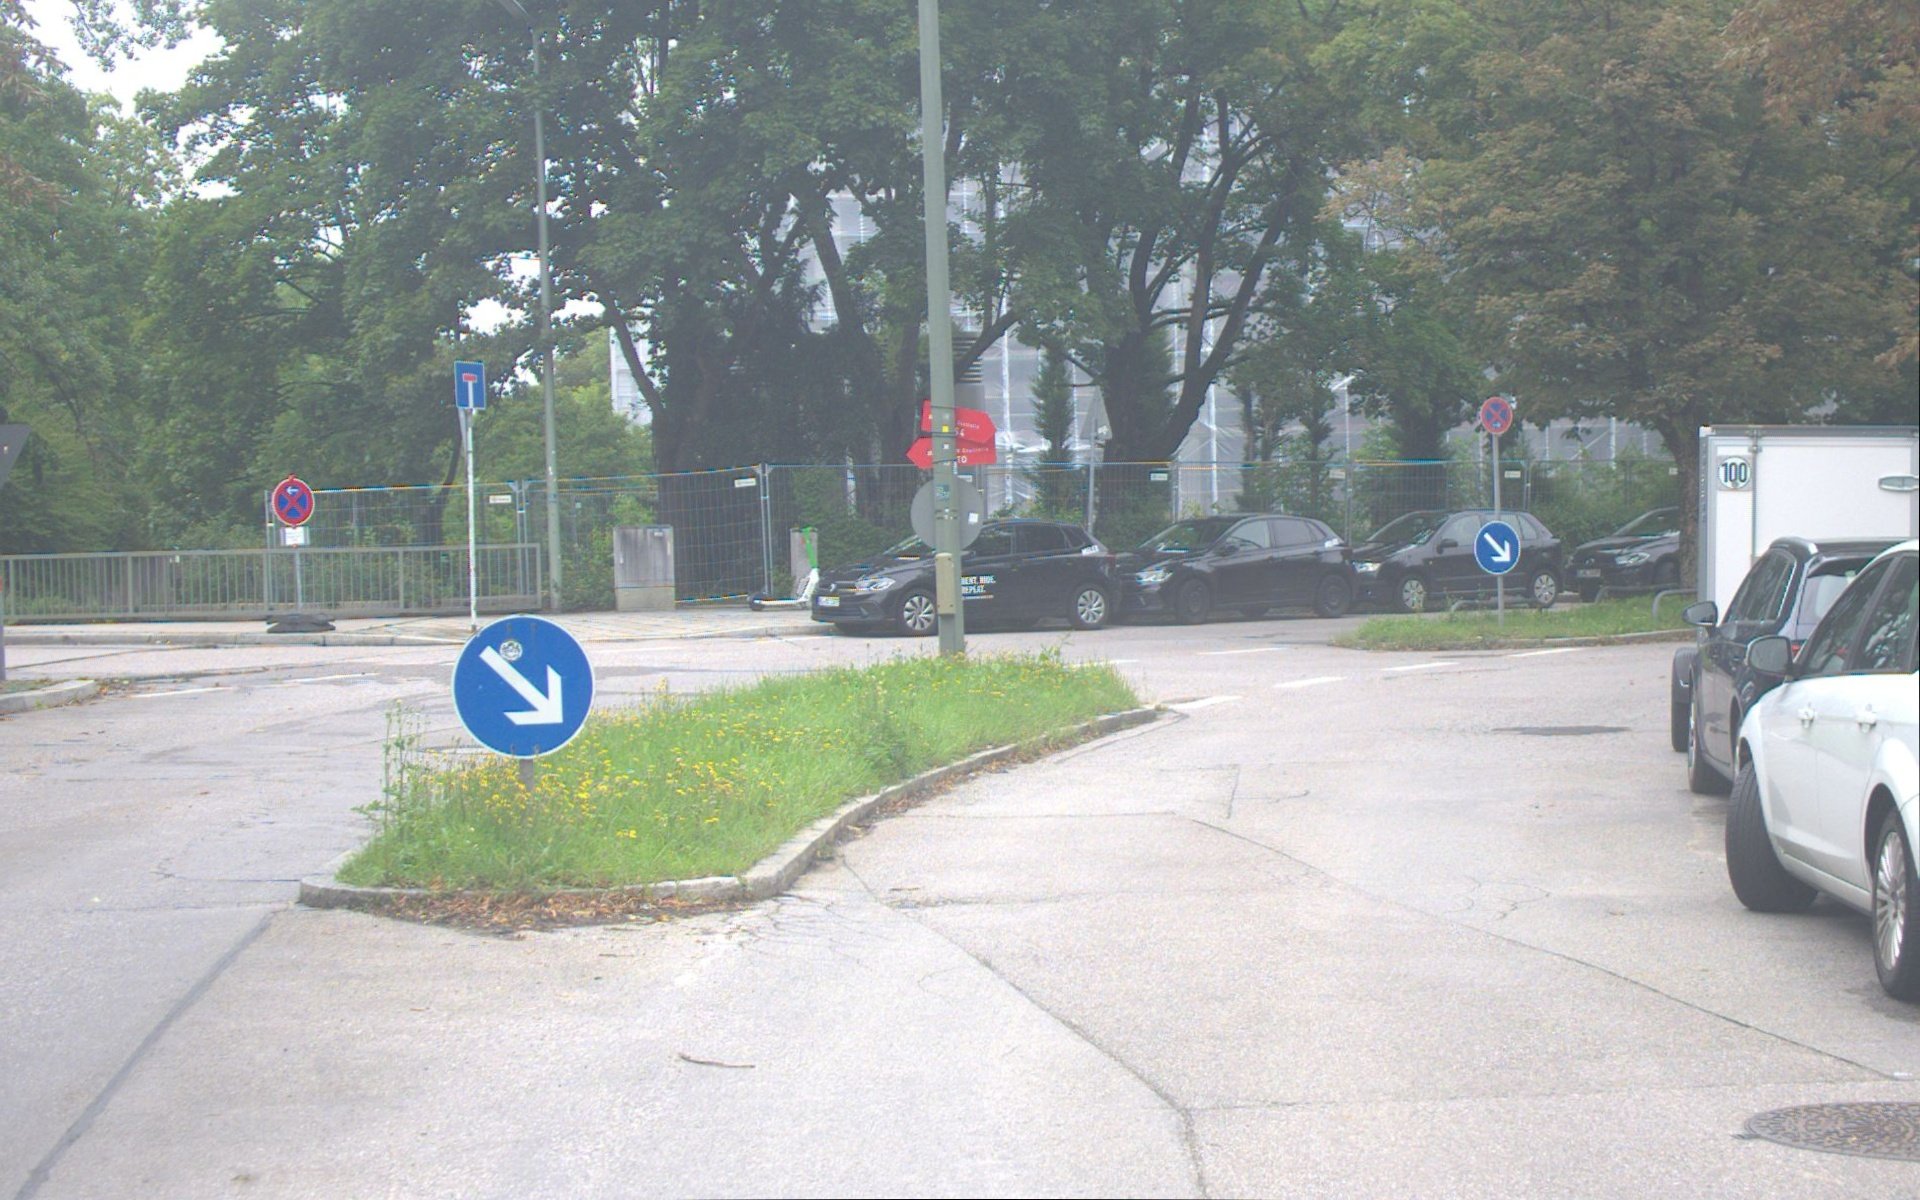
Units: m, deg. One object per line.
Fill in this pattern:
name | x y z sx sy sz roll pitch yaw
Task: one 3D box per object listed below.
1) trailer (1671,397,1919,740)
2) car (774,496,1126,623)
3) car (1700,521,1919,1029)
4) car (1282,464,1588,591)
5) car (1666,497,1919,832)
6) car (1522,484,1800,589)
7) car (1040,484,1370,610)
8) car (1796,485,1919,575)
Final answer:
trailer | 5.906 -0.242 22.643 1.810 2.007 4.830 -1 1 18
car | -0.109 -0.552 43.502 4.030 1.427 2.000 -3 4 -35
car | 3.847 0.471 12.121 1.767 1.481 4.221 -1 1 3
car | 6.783 -1.038 48.993 3.988 1.700 2.000 -2 1 -35
car | 4.744 0.223 17.577 1.872 1.432 4.327 -2 2 8
car | 10.565 -0.962 51.767 3.993 1.456 1.840 -2 1 -35
car | 3.287 -0.718 45.879 3.988 1.535 2.000 -3 2 -35
car | 15.505 -1.144 54.796 4.205 1.379 1.802 -2 1 -33
